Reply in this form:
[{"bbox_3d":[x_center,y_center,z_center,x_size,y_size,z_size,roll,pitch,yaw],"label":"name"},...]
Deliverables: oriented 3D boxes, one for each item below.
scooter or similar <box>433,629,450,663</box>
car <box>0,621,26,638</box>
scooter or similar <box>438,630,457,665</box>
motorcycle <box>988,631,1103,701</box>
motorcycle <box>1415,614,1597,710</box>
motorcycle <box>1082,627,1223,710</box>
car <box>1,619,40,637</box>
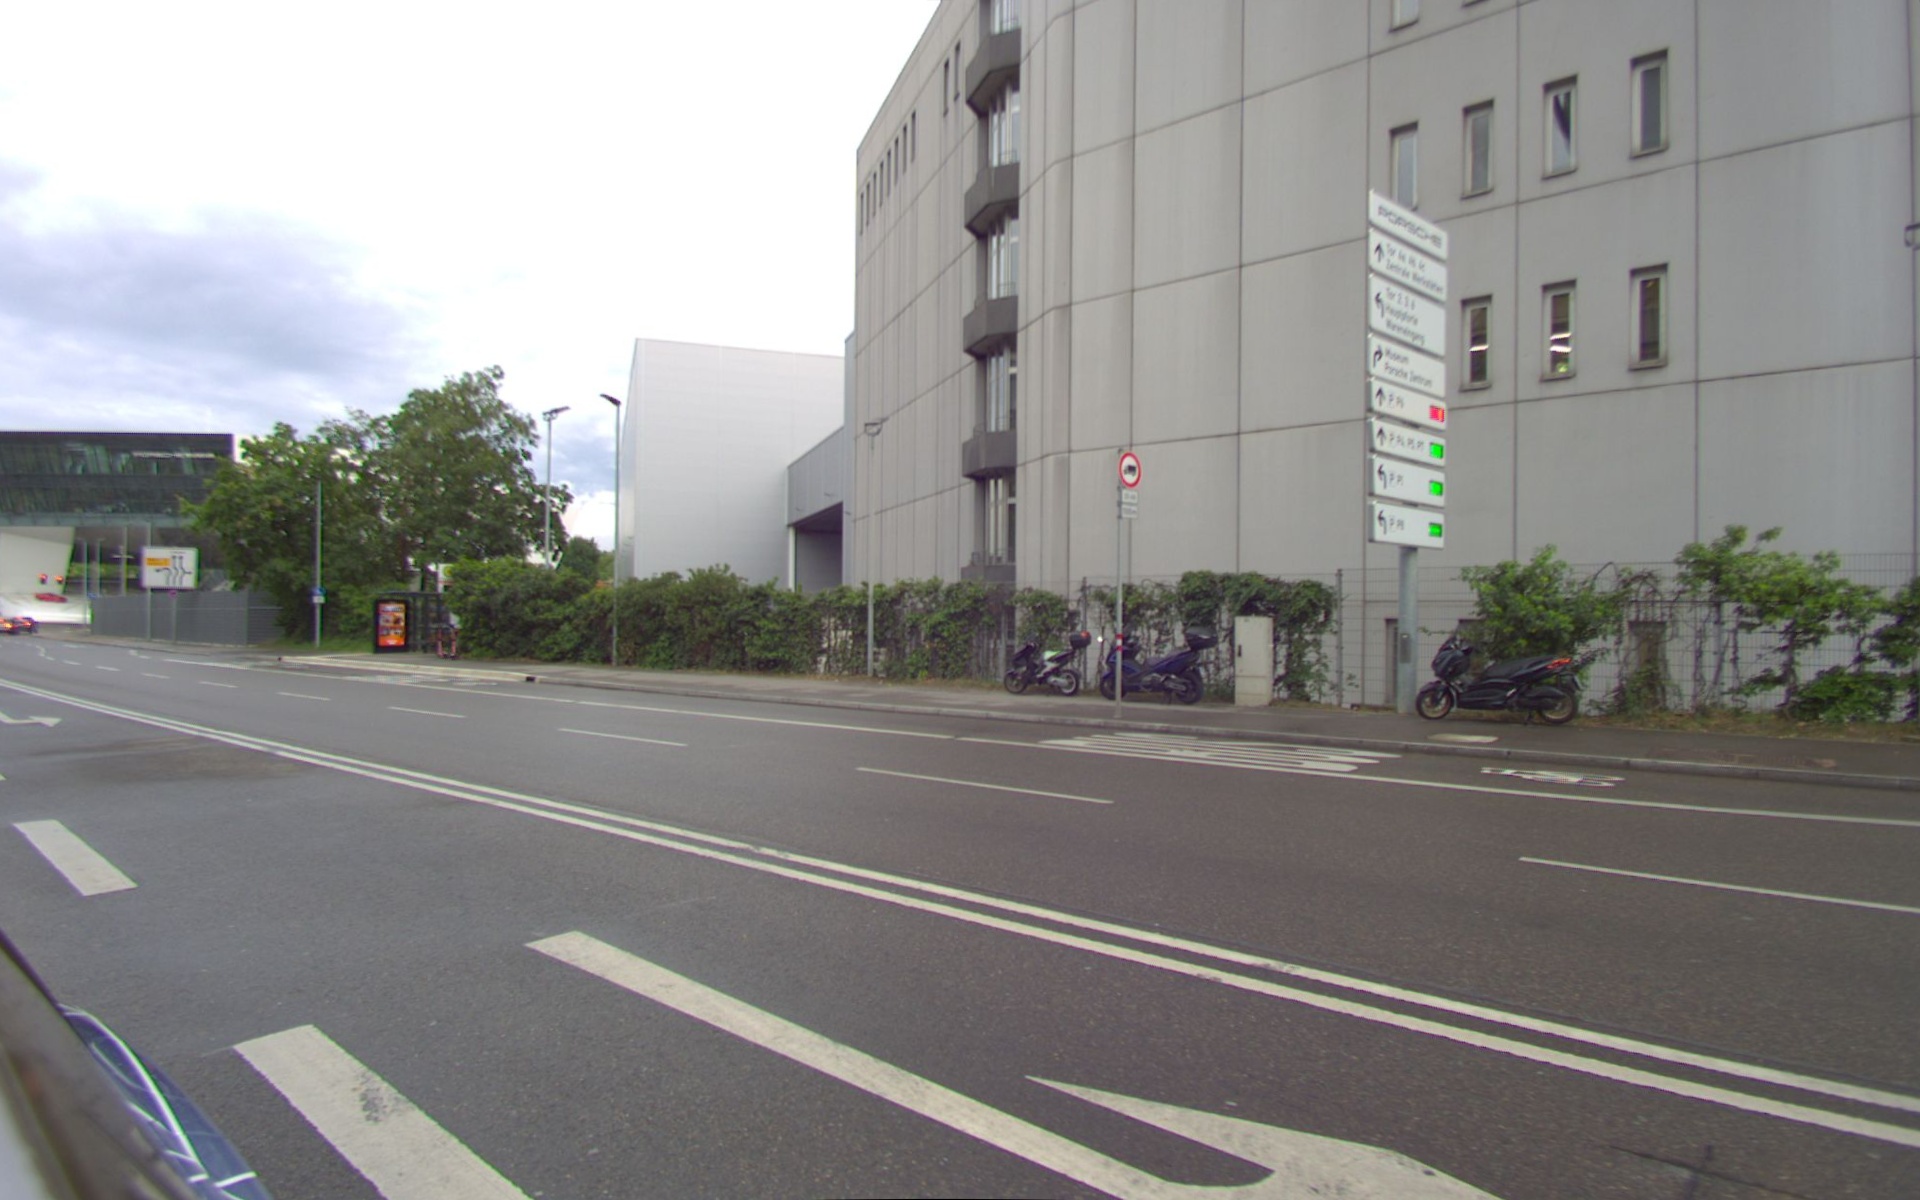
[{"bbox_3d":[-18.933,1.663,36.947,0.383,1.189,1.253,1,-1,-36],"label":"scooter or similar"},{"bbox_3d":[-83.433,2.566,88.225,2.233,1.488,4.059,1,-1,-32],"label":"car"},{"bbox_3d":[-18.138,1.659,35.800,0.373,1.190,1.381,1,-1,-36],"label":"scooter or similar"},{"bbox_3d":[1.628,1.236,19.522,2.156,1.260,0.776,-1,-2,40],"label":"motorcycle"},{"bbox_3d":[7.703,0.839,14.353,2.156,1.257,0.776,-1,-2,40],"label":"motorcycle"},{"bbox_3d":[3.346,1.156,17.797,2.368,1.358,0.776,-1,-2,40],"label":"motorcycle"},{"bbox_3d":[-87.290,2.619,94.082,1.834,1.663,3.799,1,-1,-30],"label":"car"}]
